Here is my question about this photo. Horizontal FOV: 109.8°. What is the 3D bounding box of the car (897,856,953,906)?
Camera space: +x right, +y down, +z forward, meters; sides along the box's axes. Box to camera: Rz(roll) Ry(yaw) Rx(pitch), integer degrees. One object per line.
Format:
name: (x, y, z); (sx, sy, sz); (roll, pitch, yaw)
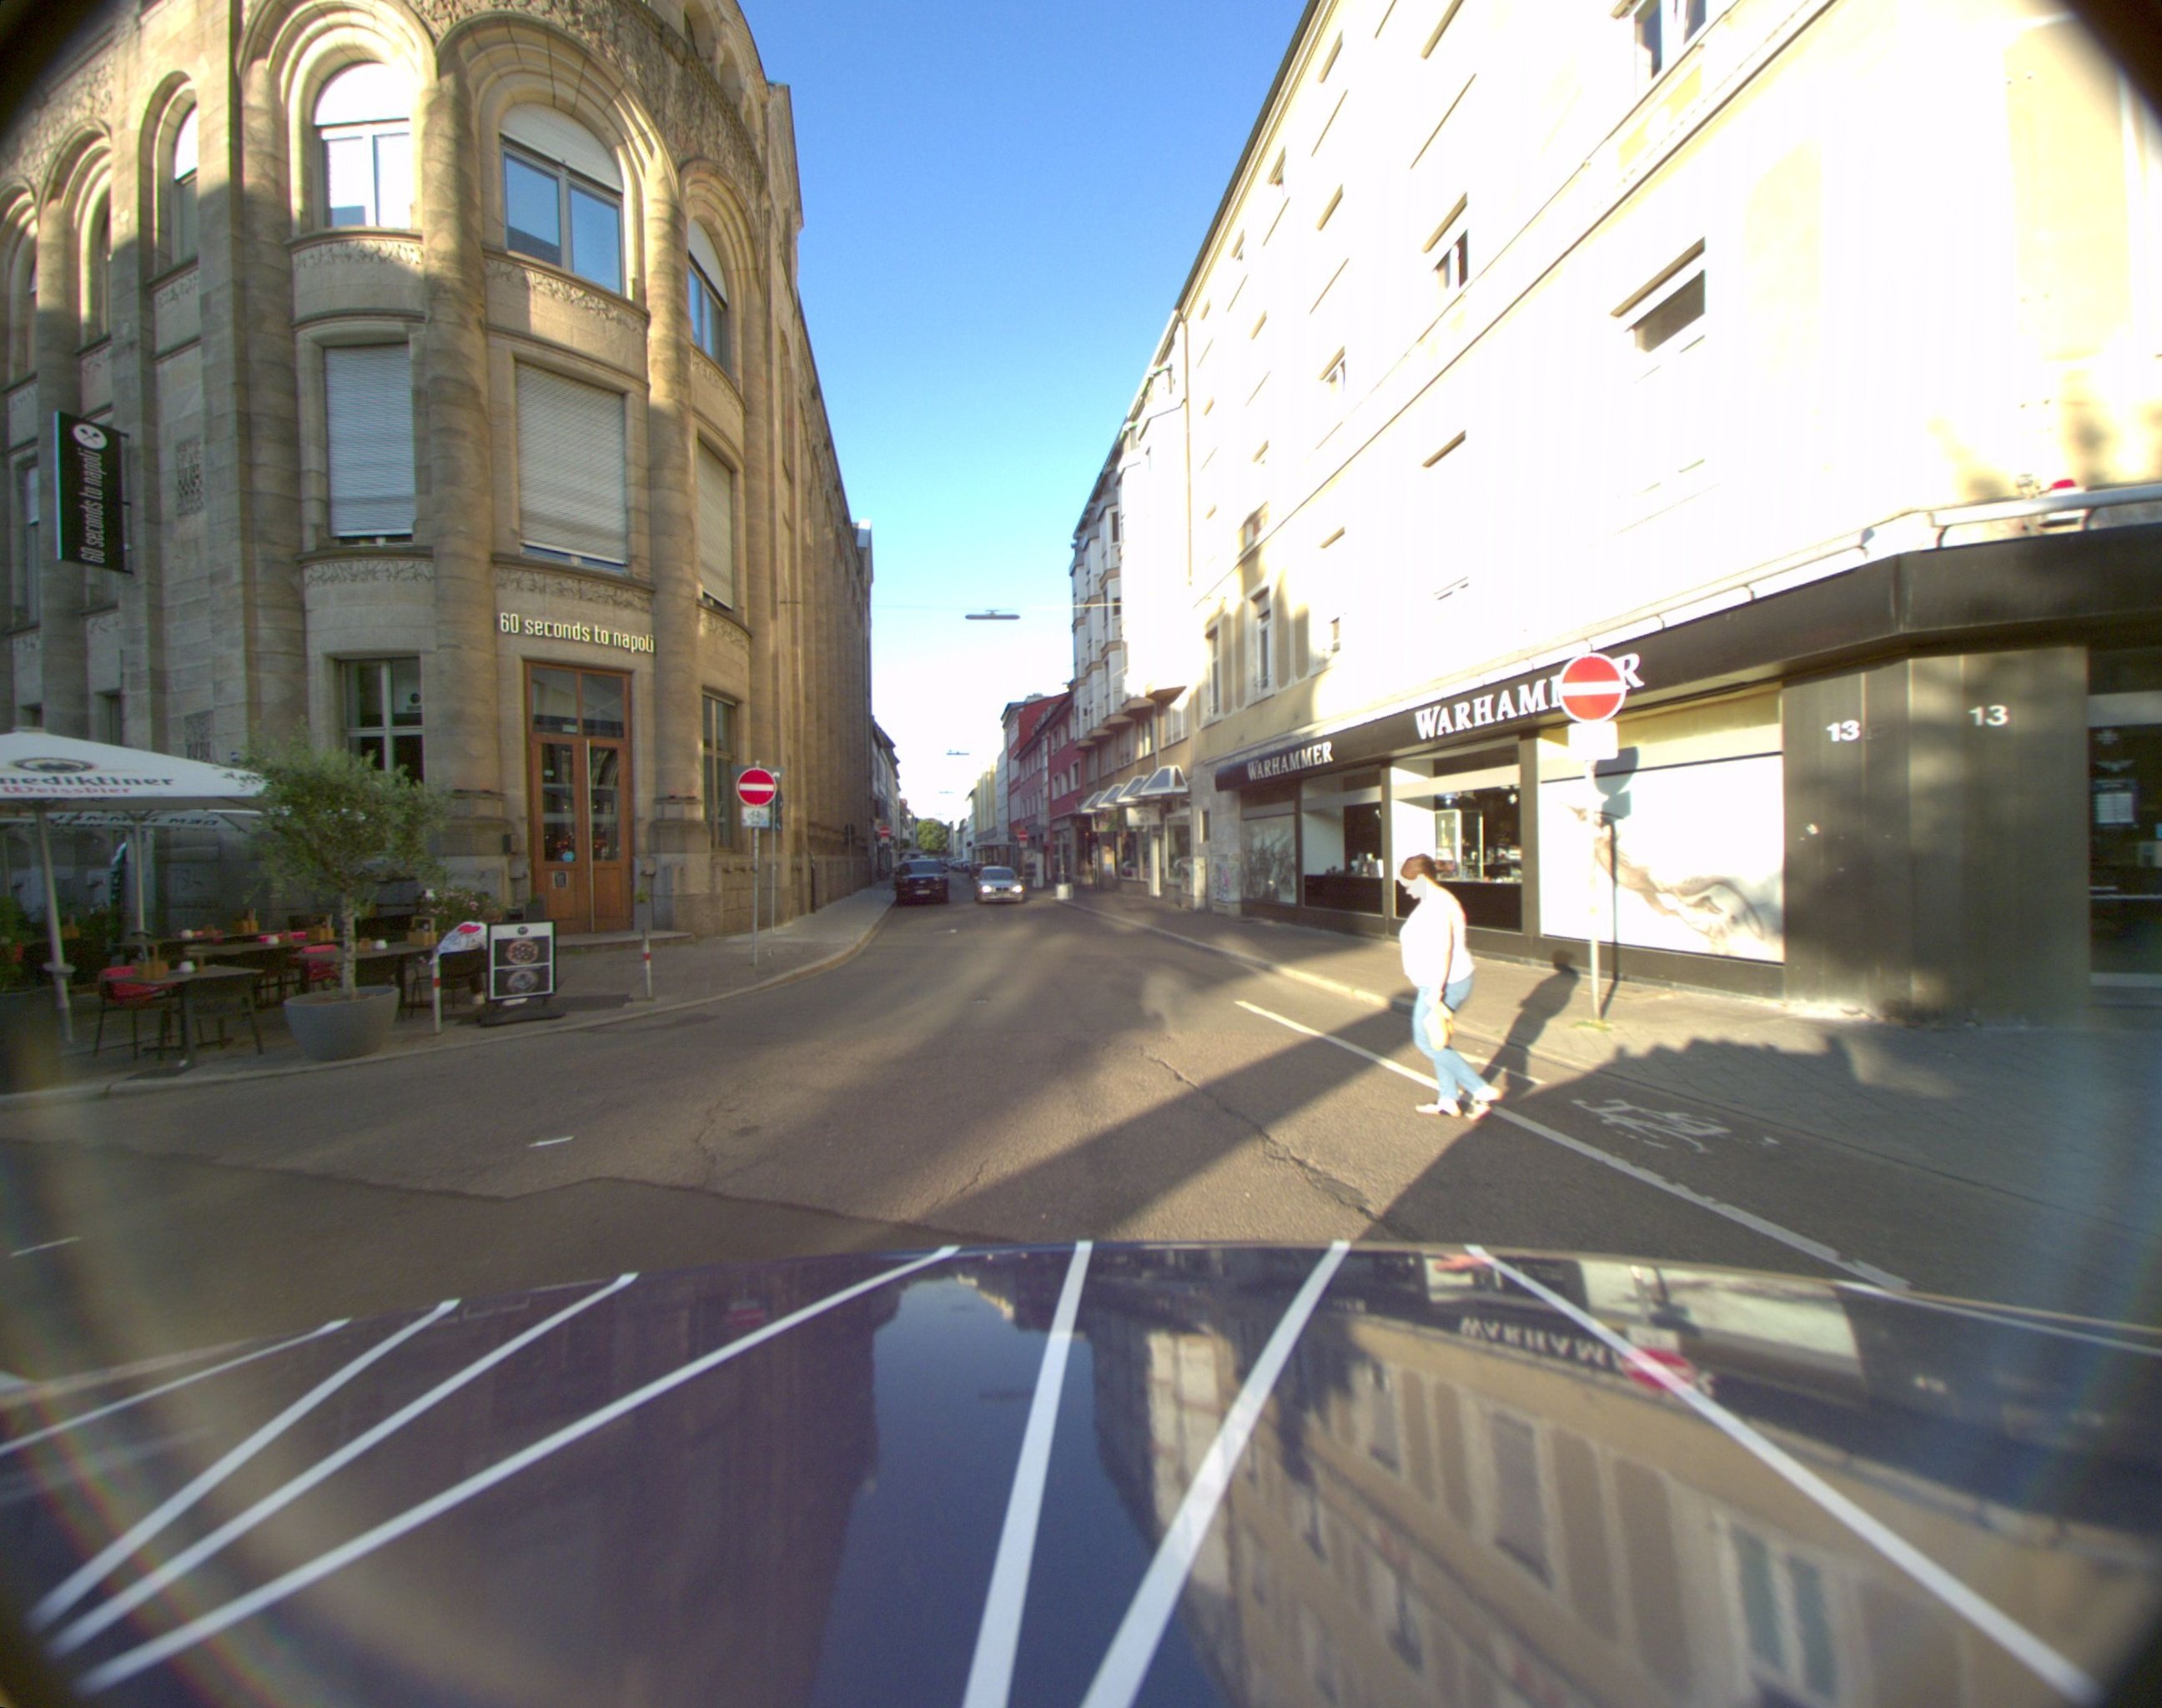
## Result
car: (-6.317, 1.009, 30.726); (2.001, 1.773, 4.929); (-1, 0, -12)

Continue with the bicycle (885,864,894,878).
bicycle: (-15.259, 1.367, 60.499); (0.520, 1.083, 1.750); (3, 0, -11)

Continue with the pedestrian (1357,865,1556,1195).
pedestrian: (2.116, 0.880, 4.285); (0.806, 1.603, 0.732); (-2, 1, -40)

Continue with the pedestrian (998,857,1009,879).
pedestrian: (-5.491, 0.987, 53.943); (0.612, 1.464, 0.546); (-2, 1, -19)

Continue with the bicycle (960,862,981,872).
bicycle: (-13.891, 1.619, 95.474); (2.483, 1.172, 0.783); (-2, 1, -6)

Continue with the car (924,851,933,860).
car: (-36.451, 0.339, 181.594); (2.000, 1.884, 4.454); (-2, 0, -11)

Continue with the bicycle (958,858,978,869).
bicycle: (-14.638, 1.208, 98.240); (2.483, 1.322, 0.783); (-2, 1, -6)

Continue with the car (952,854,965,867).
car: (-20.816, 1.121, 128.891); (2.000, 2.030, 4.454); (-2, 0, -11)

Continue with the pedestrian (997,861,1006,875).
pedestrian: (-6.007, 1.047, 57.374); (0.603, 1.056, 0.546); (-2, 1, -19)

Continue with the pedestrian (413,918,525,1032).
pedestrian: (-7.125, 1.383, 8.880); (0.607, 1.182, 0.821); (-1, 0, -1)

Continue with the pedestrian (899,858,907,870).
pedestrian: (-19.826, 1.104, 84.546); (0.737, 1.236, 0.645); (-2, 1, -10)

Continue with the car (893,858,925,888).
car: (-10.392, 1.112, 45.716); (1.780, 1.656, 3.995); (-1, 0, -14)

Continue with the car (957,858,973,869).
car: (-16.397, 1.300, 107.248); (2.000, 1.462, 4.454); (-2, 0, -11)

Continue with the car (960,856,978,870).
car: (-15.025, 1.182, 101.804); (2.000, 1.666, 4.454); (-2, 0, -11)

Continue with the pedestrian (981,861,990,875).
pedestrian: (-7.597, 1.081, 60.441); (0.634, 1.061, 0.559); (-2, 1, -19)

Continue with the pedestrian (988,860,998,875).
pedestrian: (-6.537, 0.980, 56.507); (0.612, 1.056, 0.546); (-2, 1, -19)

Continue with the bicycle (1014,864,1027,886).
bicycle: (-3.502, 1.186, 43.884); (0.545, 1.185, 1.840); (-1, 0, -12)

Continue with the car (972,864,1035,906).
car: (-3.103, 1.129, 29.670); (2.000, 1.414, 4.454); (-2, 0, -11)

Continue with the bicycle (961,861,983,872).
bicycle: (-13.143, 1.509, 91.550); (2.483, 1.172, 0.783); (-2, 1, -6)
